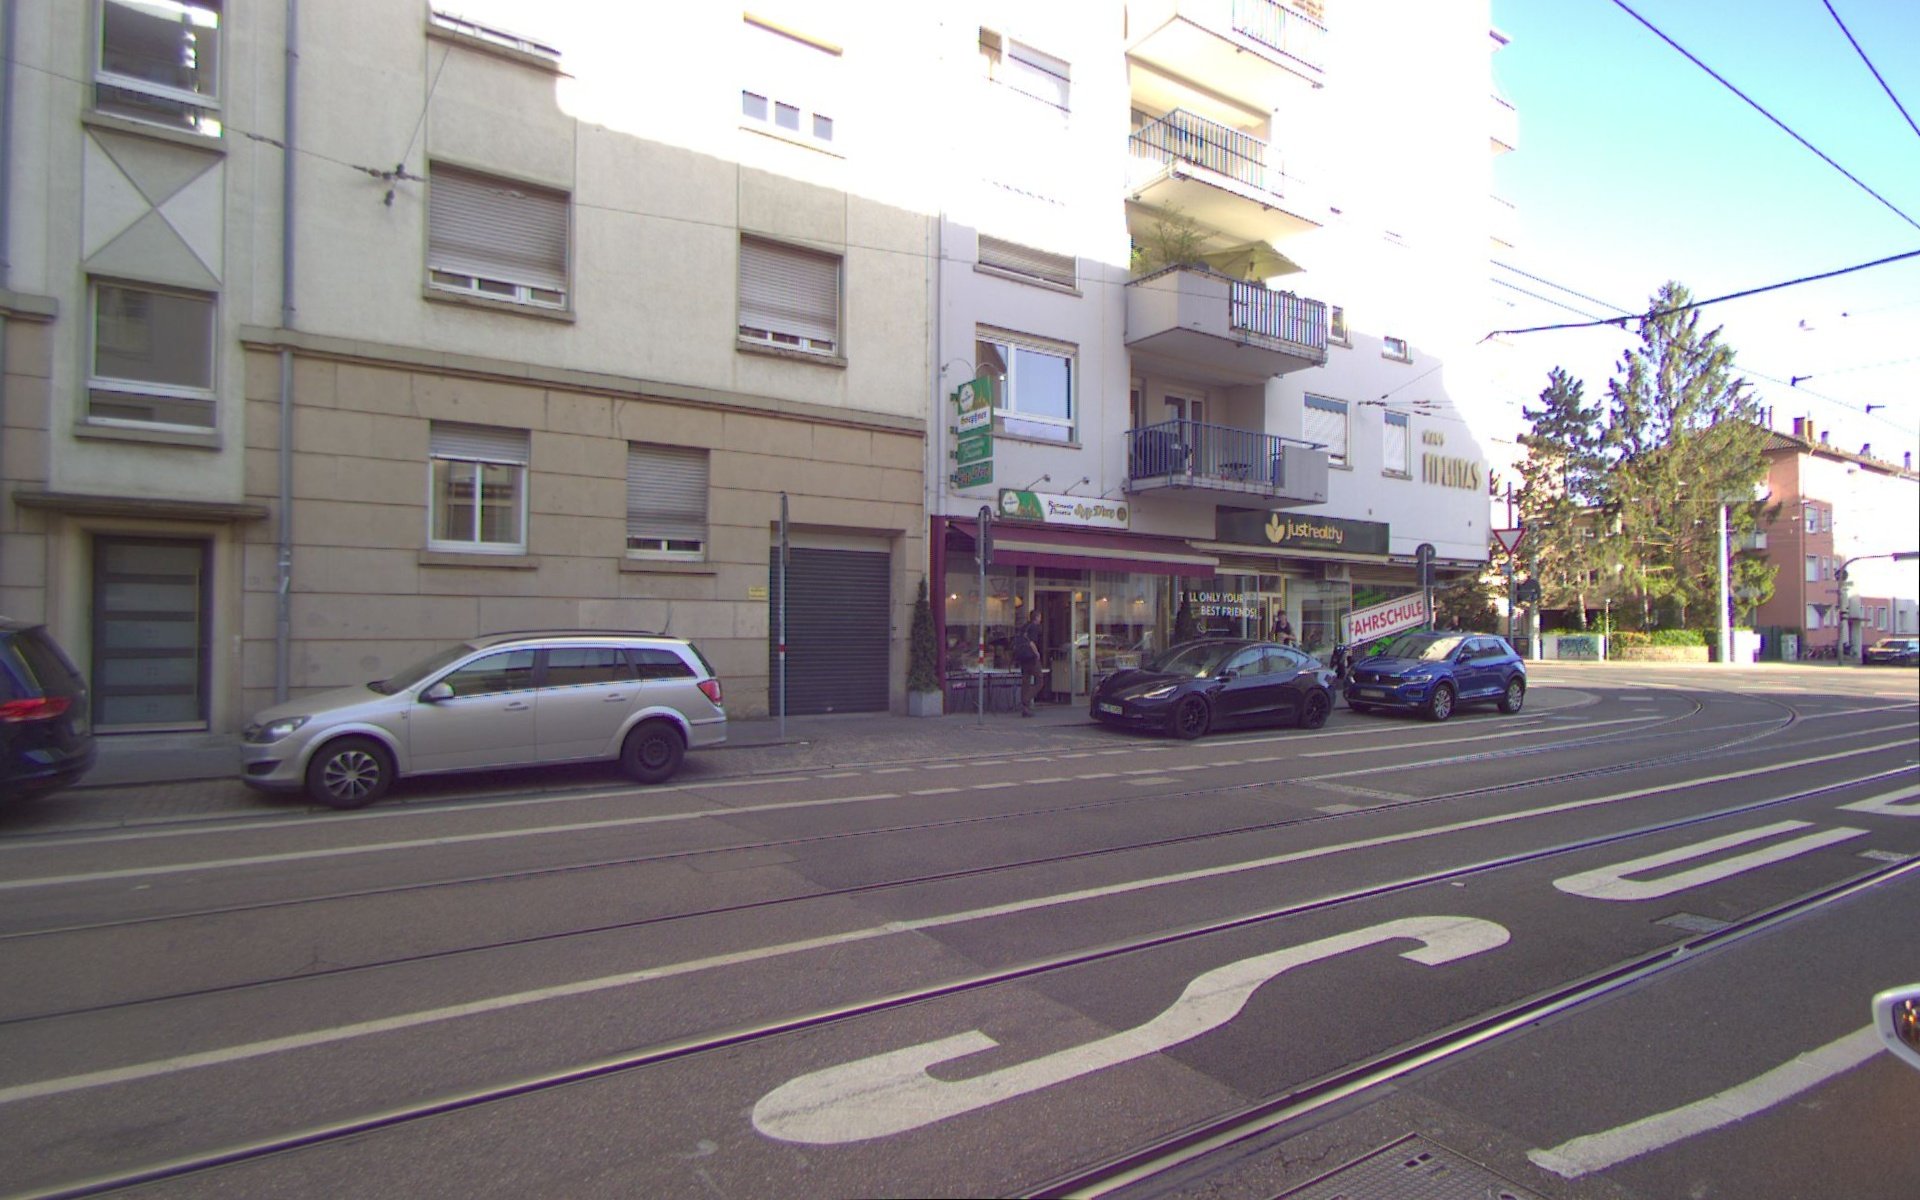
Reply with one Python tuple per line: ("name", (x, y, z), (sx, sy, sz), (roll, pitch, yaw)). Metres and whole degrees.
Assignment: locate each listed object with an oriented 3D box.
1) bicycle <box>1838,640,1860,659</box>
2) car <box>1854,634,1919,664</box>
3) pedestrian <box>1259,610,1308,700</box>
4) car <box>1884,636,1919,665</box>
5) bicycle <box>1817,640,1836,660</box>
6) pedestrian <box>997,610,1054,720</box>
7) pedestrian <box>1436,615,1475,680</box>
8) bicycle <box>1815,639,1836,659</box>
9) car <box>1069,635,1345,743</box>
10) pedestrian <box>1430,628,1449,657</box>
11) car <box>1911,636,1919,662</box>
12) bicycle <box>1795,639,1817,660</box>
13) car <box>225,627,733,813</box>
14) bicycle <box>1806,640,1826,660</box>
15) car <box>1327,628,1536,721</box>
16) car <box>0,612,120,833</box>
("bicycle", (53.160, 2.939, 60.031), (1.892, 1.097, 0.605), (1, -2, -37))
("car", (49.728, 2.617, 53.788), (3.961, 1.539, 1.938), (1, -2, -36))
("pedestrian", (6.908, 1.168, 21.459), (0.663, 1.882, 0.748), (1, -2, -27))
("car", (54.276, 2.841, 57.018), (4.006, 1.539, 1.938), (1, -2, -36))
("bicycle", (47.608, 2.748, 55.170), (1.895, 1.097, 0.532), (2, -2, -41))
("pedestrian", (1.067, 1.046, 16.371), (0.722, 1.731, 0.600), (1, -2, -32))
("pedestrian", (14.221, 1.359, 28.844), (0.707, 1.859, 0.771), (0, -1, -3))
("bicycle", (50.743, 2.862, 58.886), (1.892, 1.097, 0.533), (1, -2, -37))
("car", (4.016, 1.314, 16.043), (4.442, 1.422, 1.714), (1, 1, -34))
("pedestrian", (29.435, 2.604, 61.690), (0.672, 1.725, 0.805), (1, -2, -30))
("car", (58.130, 2.898, 59.457), (3.961, 1.539, 1.938), (1, -2, -36))
("bicycle", (46.885, 2.726, 55.637), (1.895, 1.097, 0.634), (2, -2, -41))
("car", (-4.702, 1.048, 10.215), (4.343, 1.497, 1.785), (1, -1, -34))
("bicycle", (47.181, 2.736, 55.345), (1.895, 1.097, 0.532), (2, -2, -41))
("car", (8.996, 1.344, 19.086), (4.072, 1.525, 1.714), (1, 1, -34))
("car", (-8.989, 0.878, 7.192), (4.343, 1.620, 1.785), (1, -1, -34))
